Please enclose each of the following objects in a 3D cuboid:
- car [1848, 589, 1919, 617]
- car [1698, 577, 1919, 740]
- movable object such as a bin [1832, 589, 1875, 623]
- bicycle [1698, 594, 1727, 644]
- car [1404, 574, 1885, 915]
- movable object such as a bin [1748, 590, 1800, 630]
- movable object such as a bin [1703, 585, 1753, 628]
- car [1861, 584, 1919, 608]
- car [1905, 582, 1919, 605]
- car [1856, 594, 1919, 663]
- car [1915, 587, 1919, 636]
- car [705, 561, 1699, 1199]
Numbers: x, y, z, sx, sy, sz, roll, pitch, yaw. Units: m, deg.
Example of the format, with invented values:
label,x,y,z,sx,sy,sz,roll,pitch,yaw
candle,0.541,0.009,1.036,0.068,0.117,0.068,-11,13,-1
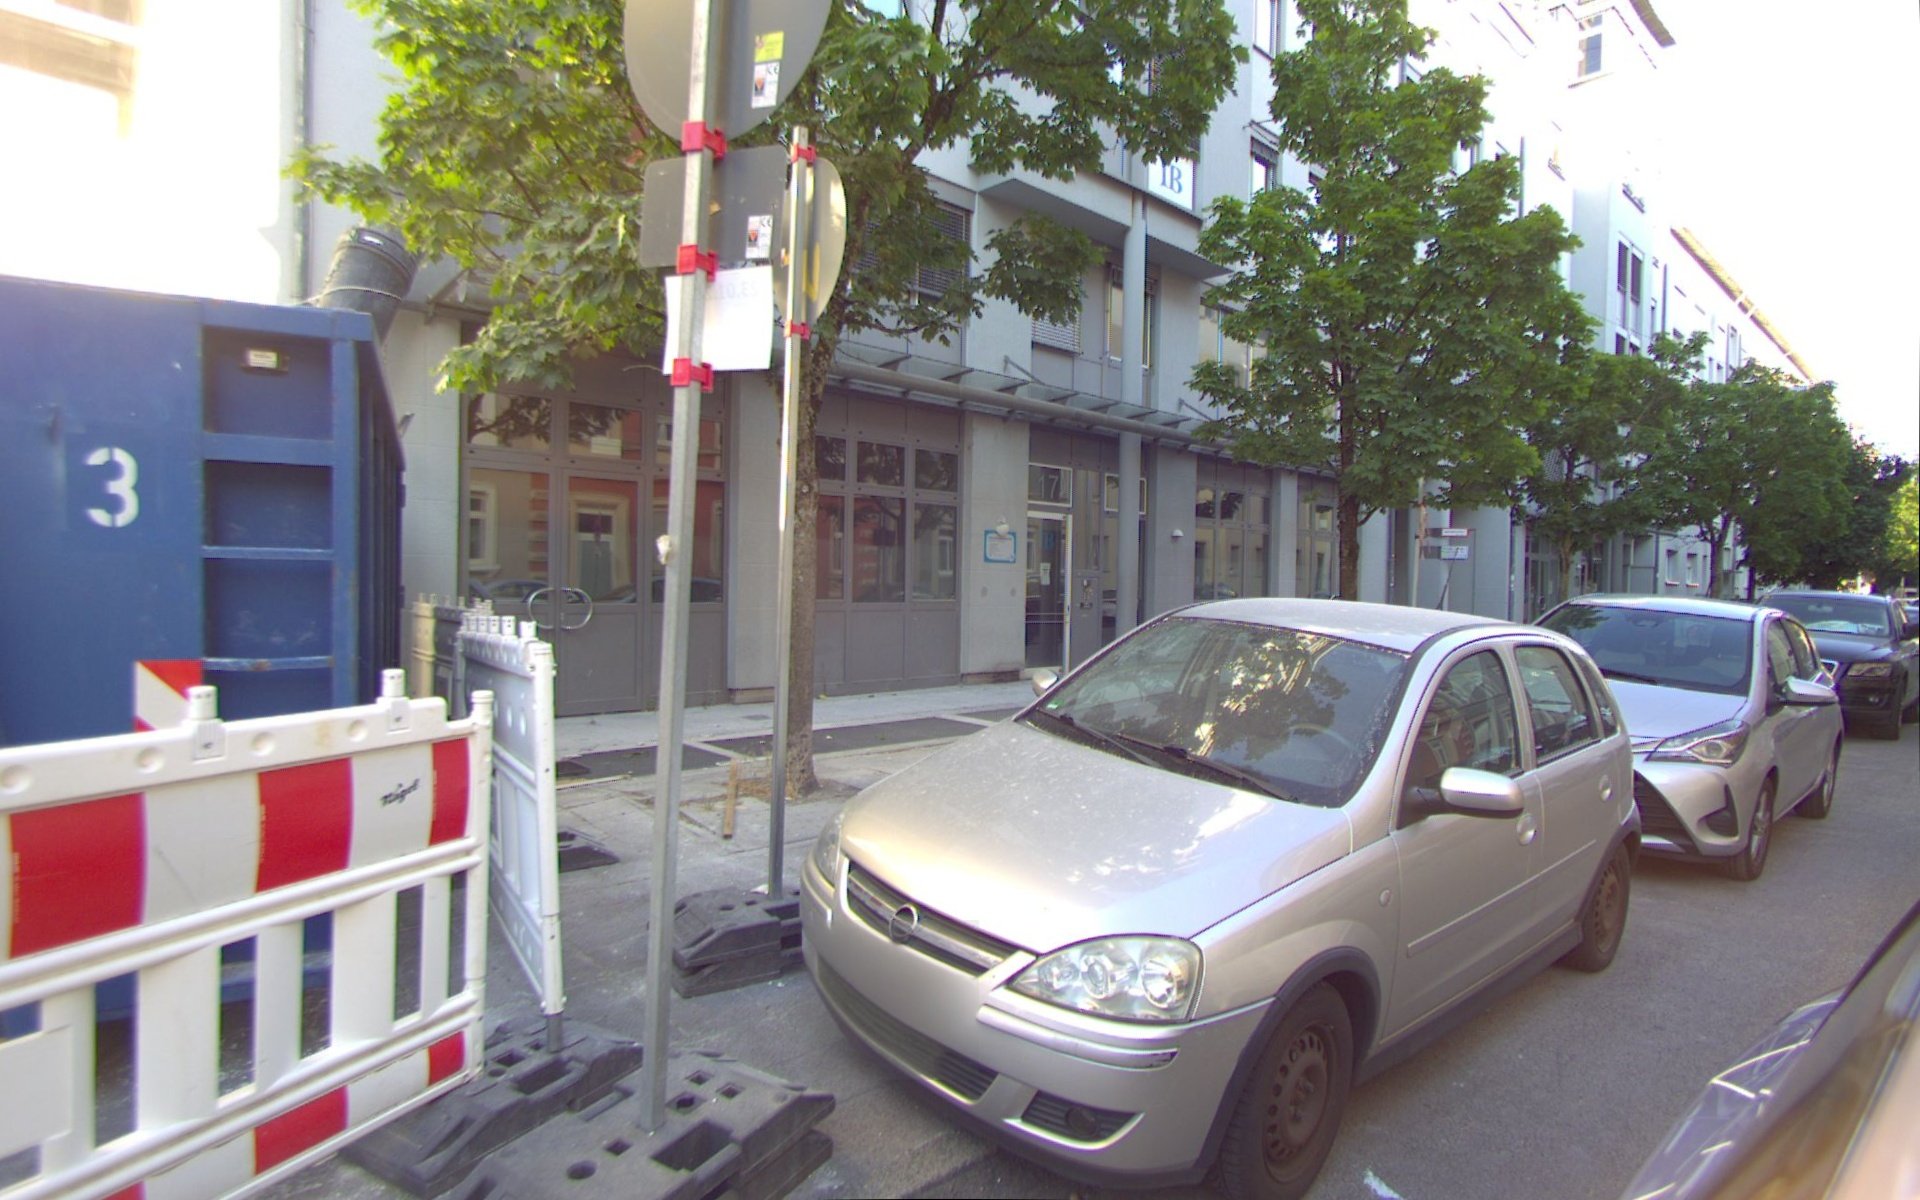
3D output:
label,x,y,z,sx,sy,sz,roll,pitch,yaw
car,59.788,0.163,65.002,1.967,1.584,3.991,0,3,-44
car,11.058,0.596,12.854,4.360,1.642,1.888,0,3,-43
movable object such as a bin,40.017,0.246,45.310,1.202,1.454,1.286,0,2,-43
bicycle,19.058,0.449,25.645,0.519,1.182,1.717,3,3,36
car,4.668,0.658,6.675,3.902,1.543,1.679,0,3,-42
movable object such as a bin,29.119,0.339,36.192,1.120,1.337,1.263,0,2,-43
movable object such as a bin,28.066,0.223,36.987,1.120,1.454,1.263,0,2,-43
car,78.153,-0.366,84.417,2.044,1.792,4.215,0,3,-39
car,96.645,-0.620,101.138,2.147,2.311,6.135,3,3,33
car,22.689,0.640,23.961,4.272,1.446,1.766,0,3,-43
car,34.723,0.411,35.289,4.646,1.655,1.873,0,3,-45
car,1.144,0.669,3.718,3.663,1.493,1.680,0,3,-40
